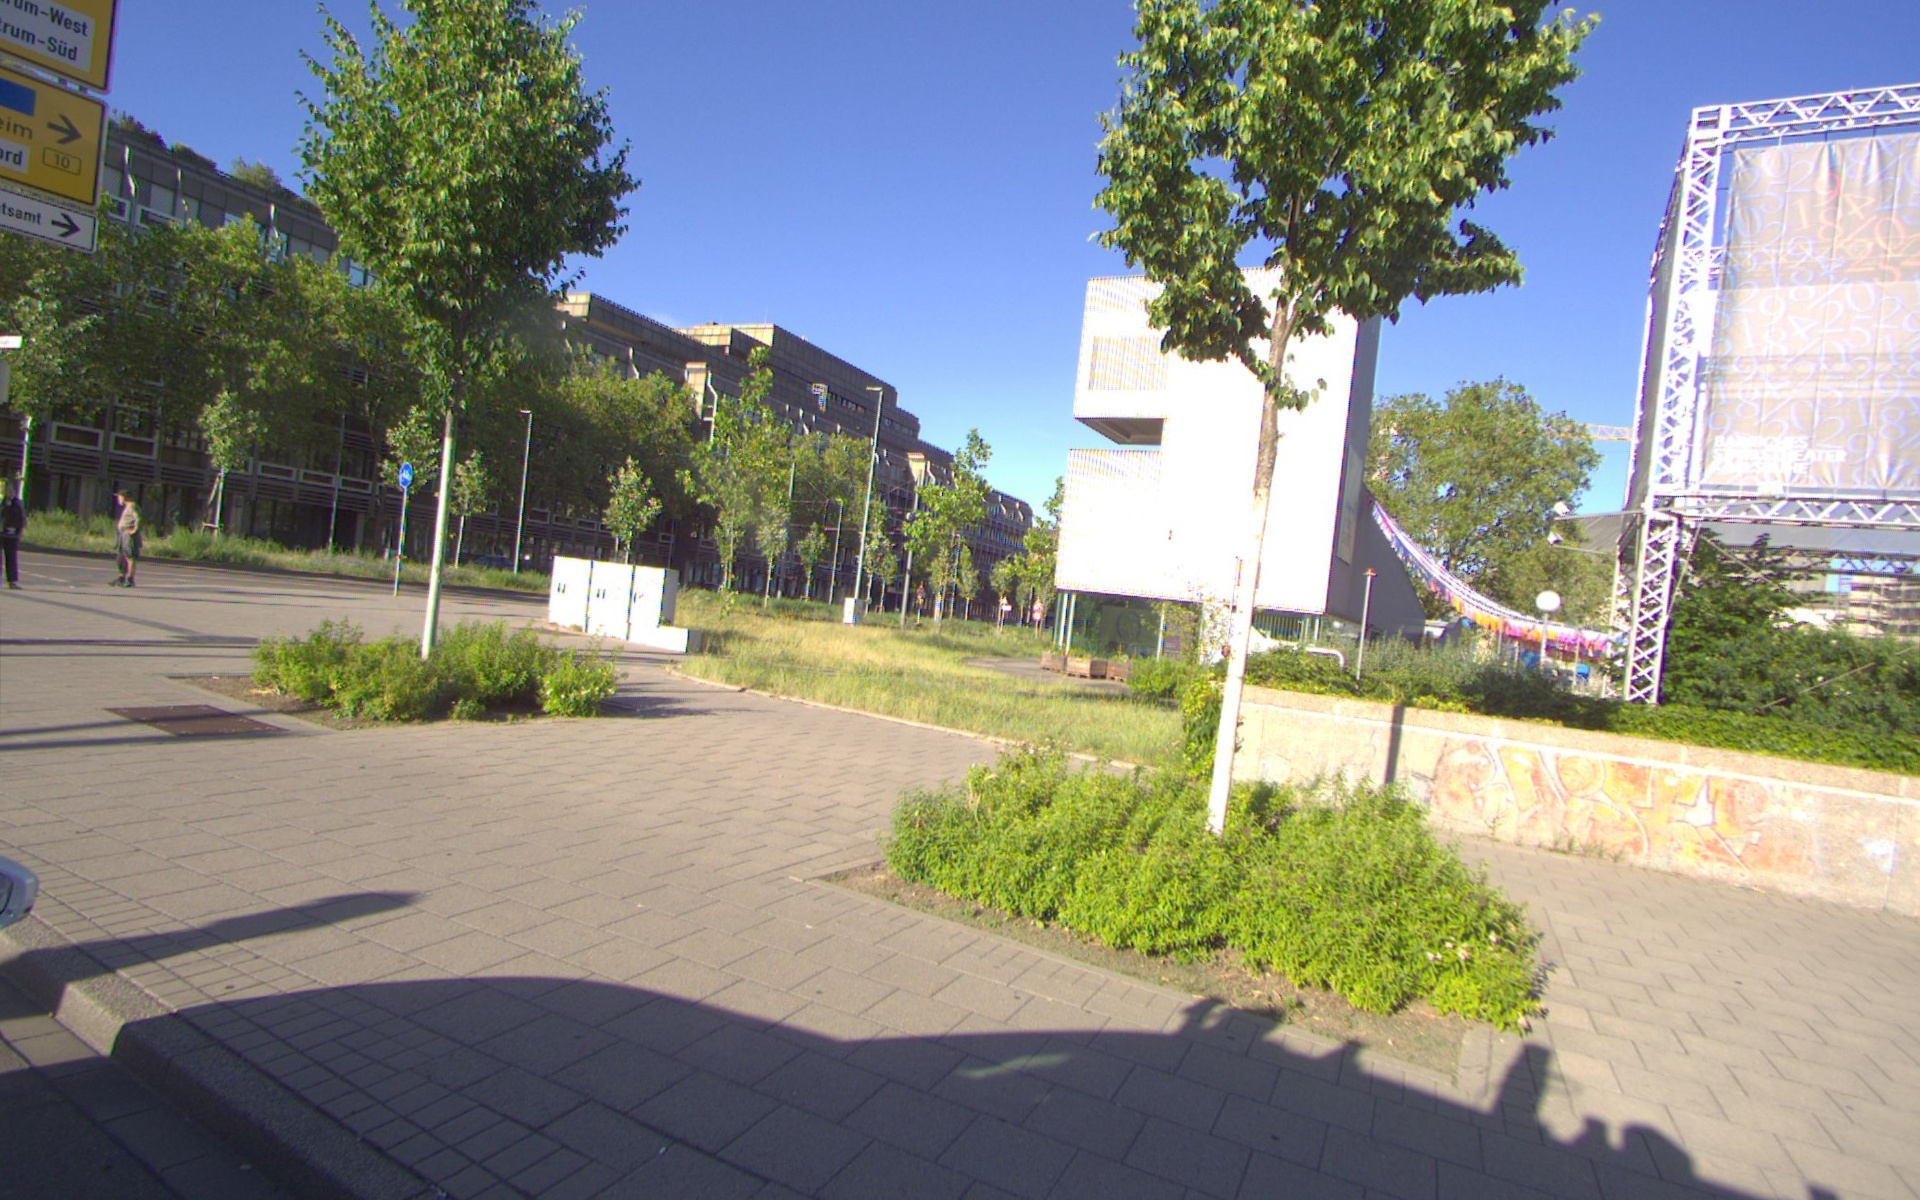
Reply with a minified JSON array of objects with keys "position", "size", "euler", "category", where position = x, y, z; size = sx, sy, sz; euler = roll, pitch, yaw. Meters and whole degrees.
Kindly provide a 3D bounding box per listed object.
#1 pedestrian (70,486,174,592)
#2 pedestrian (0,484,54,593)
[{"position":[-14.901,-1.070,17.910],"size":[0.946,1.684,0.882],"euler":[7,-1,14],"category":"pedestrian"},{"position":[-14.044,-0.922,14.785],"size":[0.633,1.510,0.789],"euler":[6,-1,31],"category":"pedestrian"}]
